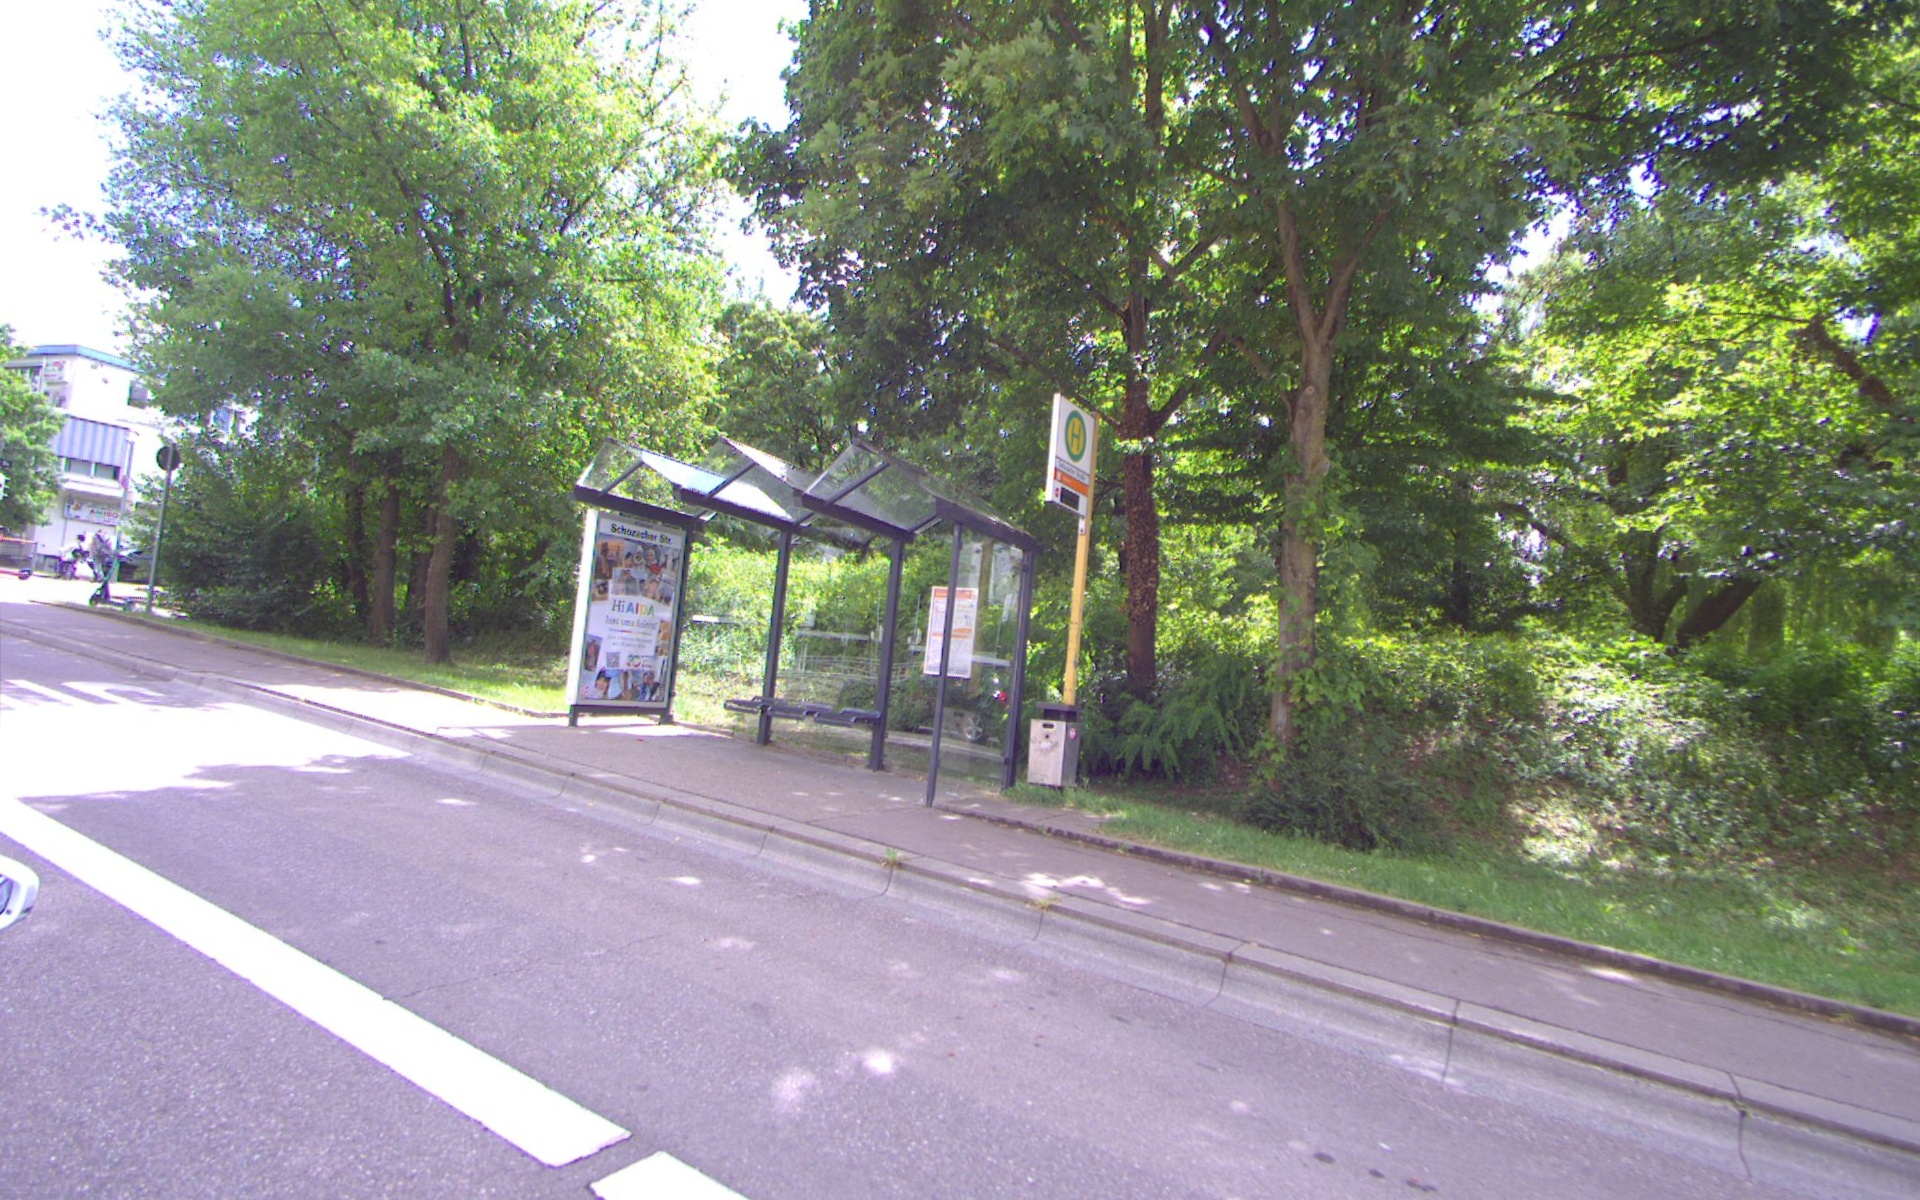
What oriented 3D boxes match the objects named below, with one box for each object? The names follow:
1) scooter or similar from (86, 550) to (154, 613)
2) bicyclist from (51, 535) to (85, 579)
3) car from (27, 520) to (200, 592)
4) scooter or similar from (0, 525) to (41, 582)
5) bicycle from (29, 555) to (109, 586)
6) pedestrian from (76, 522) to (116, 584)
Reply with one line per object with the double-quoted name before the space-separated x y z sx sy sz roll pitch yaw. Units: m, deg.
"scooter or similar" -18.892 -0.407 22.637 0.447 1.242 0.893 6 -6 32
"bicyclist" -25.280 -1.220 28.523 0.393 1.170 0.502 7 -1 -10
"car" -32.403 -1.644 38.690 1.964 2.036 4.551 6 -3 24
"scooter or similar" -23.599 -1.185 24.813 0.546 1.286 1.153 6 -3 34
"bicycle" -25.256 -0.829 28.535 1.565 0.616 0.534 8 -3 -12
"pedestrian" -25.531 -1.392 29.730 0.652 1.733 0.458 7 -1 -32
